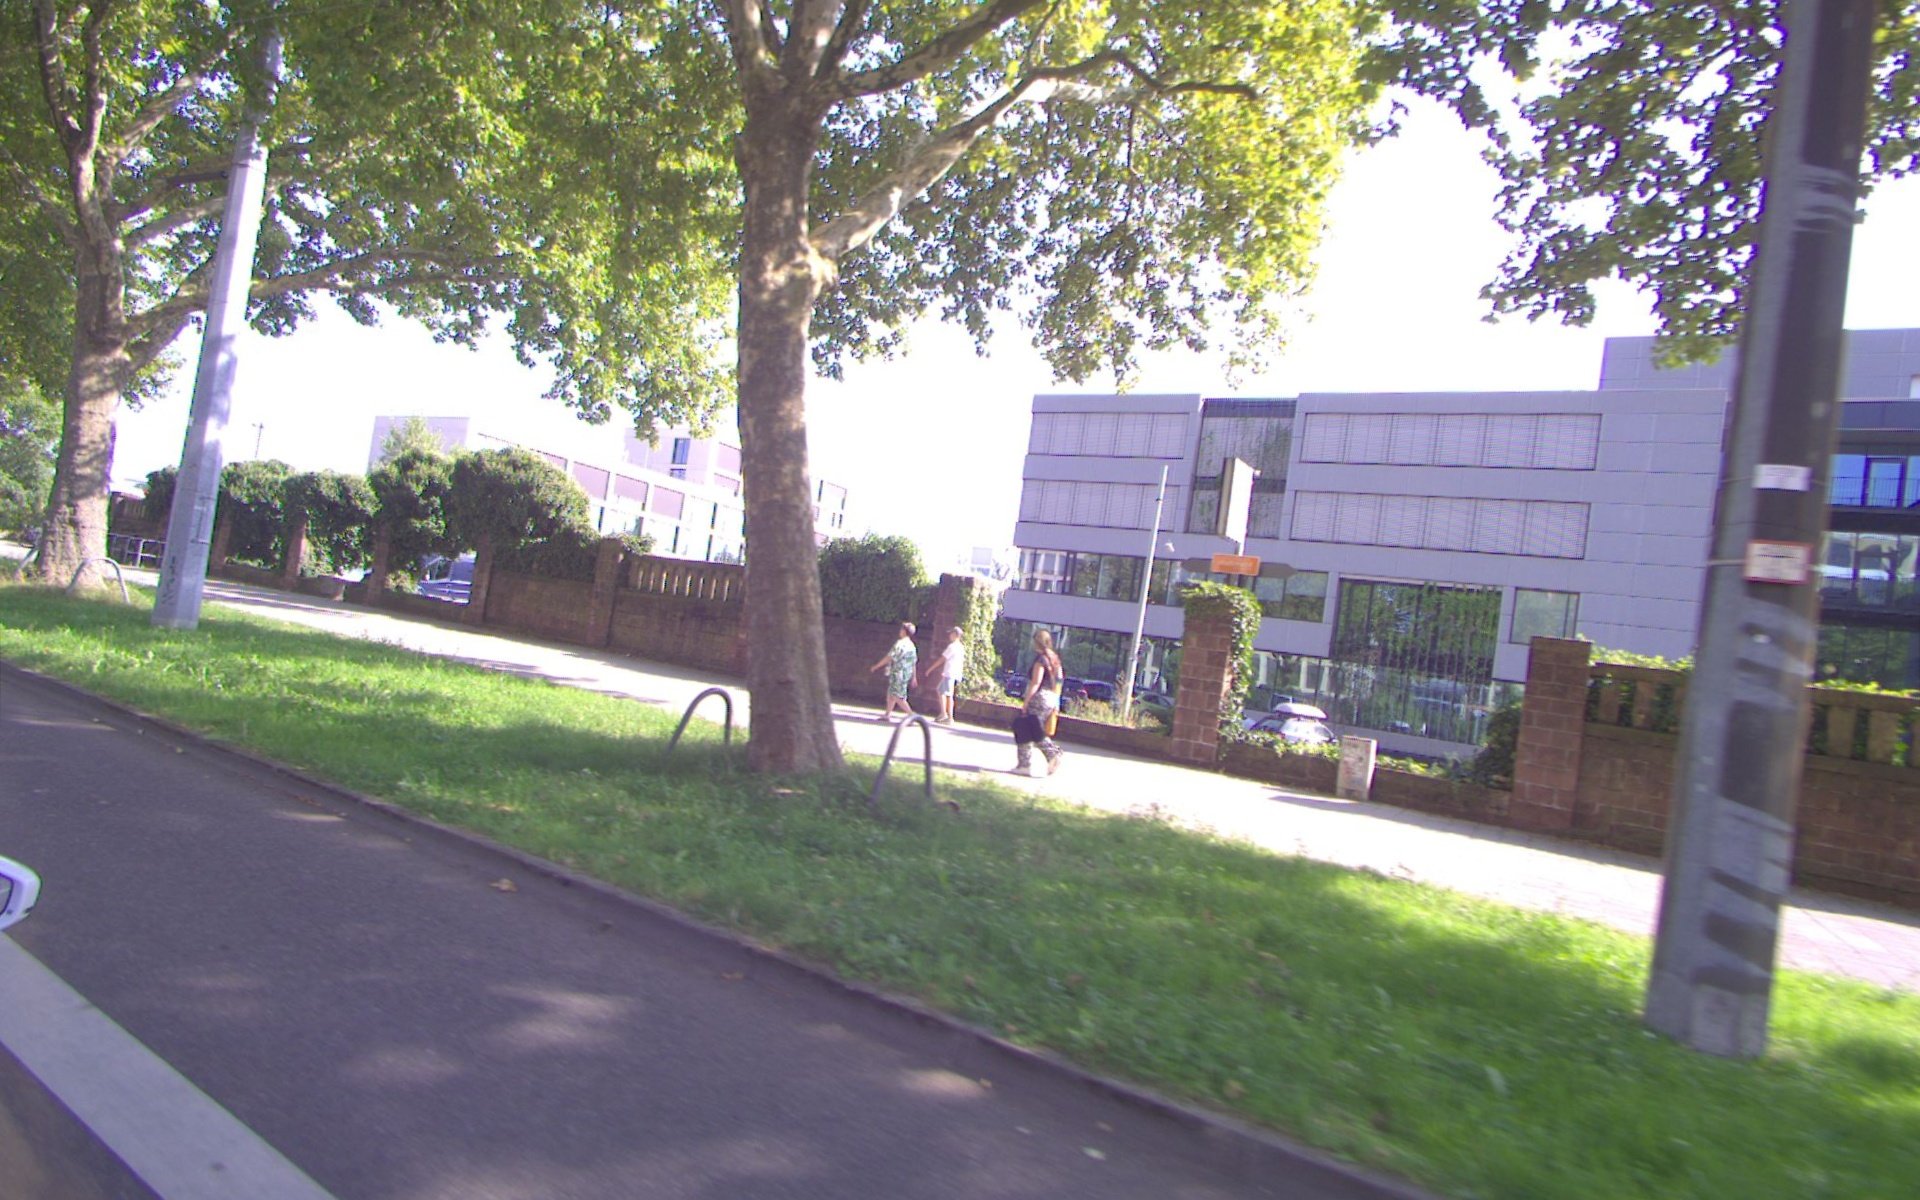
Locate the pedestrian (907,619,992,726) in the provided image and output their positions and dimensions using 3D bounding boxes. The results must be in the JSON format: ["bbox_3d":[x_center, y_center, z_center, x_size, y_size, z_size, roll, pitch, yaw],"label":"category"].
[{"bbox_3d":[-0.172,1.191,16.530,0.931,1.623,0.807,7,-1,32],"label":"pedestrian"}]

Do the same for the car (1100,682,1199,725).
[{"bbox_3d":[8.153,4.447,43.053,4.460,1.308,1.825,11,-3,-43],"label":"car"}]

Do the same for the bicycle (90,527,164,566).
[{"bbox_3d":[-26.092,-1.673,31.539,0.498,0.981,1.657,7,-1,37],"label":"bicycle"}]

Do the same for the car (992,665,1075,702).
[{"bbox_3d":[3.549,3.992,47.705,1.818,1.308,4.478,7,-3,34],"label":"car"}]

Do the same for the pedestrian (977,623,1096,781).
[{"bbox_3d":[0.899,1.169,11.702,0.931,1.655,0.807,7,-1,32],"label":"pedestrian"}]

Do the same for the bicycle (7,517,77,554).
[{"bbox_3d":[-30.866,-2.148,33.836,1.634,0.981,0.505,8,0,-10],"label":"bicycle"}]

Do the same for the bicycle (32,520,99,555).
[{"bbox_3d":[-31.952,-2.216,35.945,0.498,0.981,1.658,7,-1,34],"label":"bicycle"}]

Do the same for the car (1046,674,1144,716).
[{"bbox_3d":[6.058,4.246,44.933,4.460,1.308,1.825,11,-3,-43],"label":"car"}]

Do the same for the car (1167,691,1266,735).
[{"bbox_3d":[10.753,4.727,42.007,4.460,1.308,1.825,11,-3,-43],"label":"car"}]

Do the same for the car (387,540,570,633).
[{"bbox_3d":[-16.582,-0.388,34.938,2.096,2.395,5.140,7,-3,35],"label":"car"}]

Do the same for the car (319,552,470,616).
[{"bbox_3d":[-21.557,-0.561,38.525,1.946,1.693,4.528,7,-3,35],"label":"car"}]

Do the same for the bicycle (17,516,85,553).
[{"bbox_3d":[-31.159,-2.238,34.505,1.634,0.981,0.505,8,0,-10],"label":"bicycle"}]

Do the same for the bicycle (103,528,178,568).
[{"bbox_3d":[-25.394,-1.610,31.187,0.498,0.981,1.658,7,-1,33],"label":"bicycle"}]

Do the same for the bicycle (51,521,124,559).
[{"bbox_3d":[-28.518,-1.960,32.891,0.498,0.981,1.657,7,-1,37],"label":"bicycle"}]

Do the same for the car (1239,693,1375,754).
[{"bbox_3d":[12.316,4.388,35.716,4.432,1.529,1.837,9,-2,-25],"label":"car"}]

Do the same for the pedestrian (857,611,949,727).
[{"bbox_3d":[-0.874,1.063,15.505,0.931,1.623,0.807,7,-1,32],"label":"pedestrian"}]
